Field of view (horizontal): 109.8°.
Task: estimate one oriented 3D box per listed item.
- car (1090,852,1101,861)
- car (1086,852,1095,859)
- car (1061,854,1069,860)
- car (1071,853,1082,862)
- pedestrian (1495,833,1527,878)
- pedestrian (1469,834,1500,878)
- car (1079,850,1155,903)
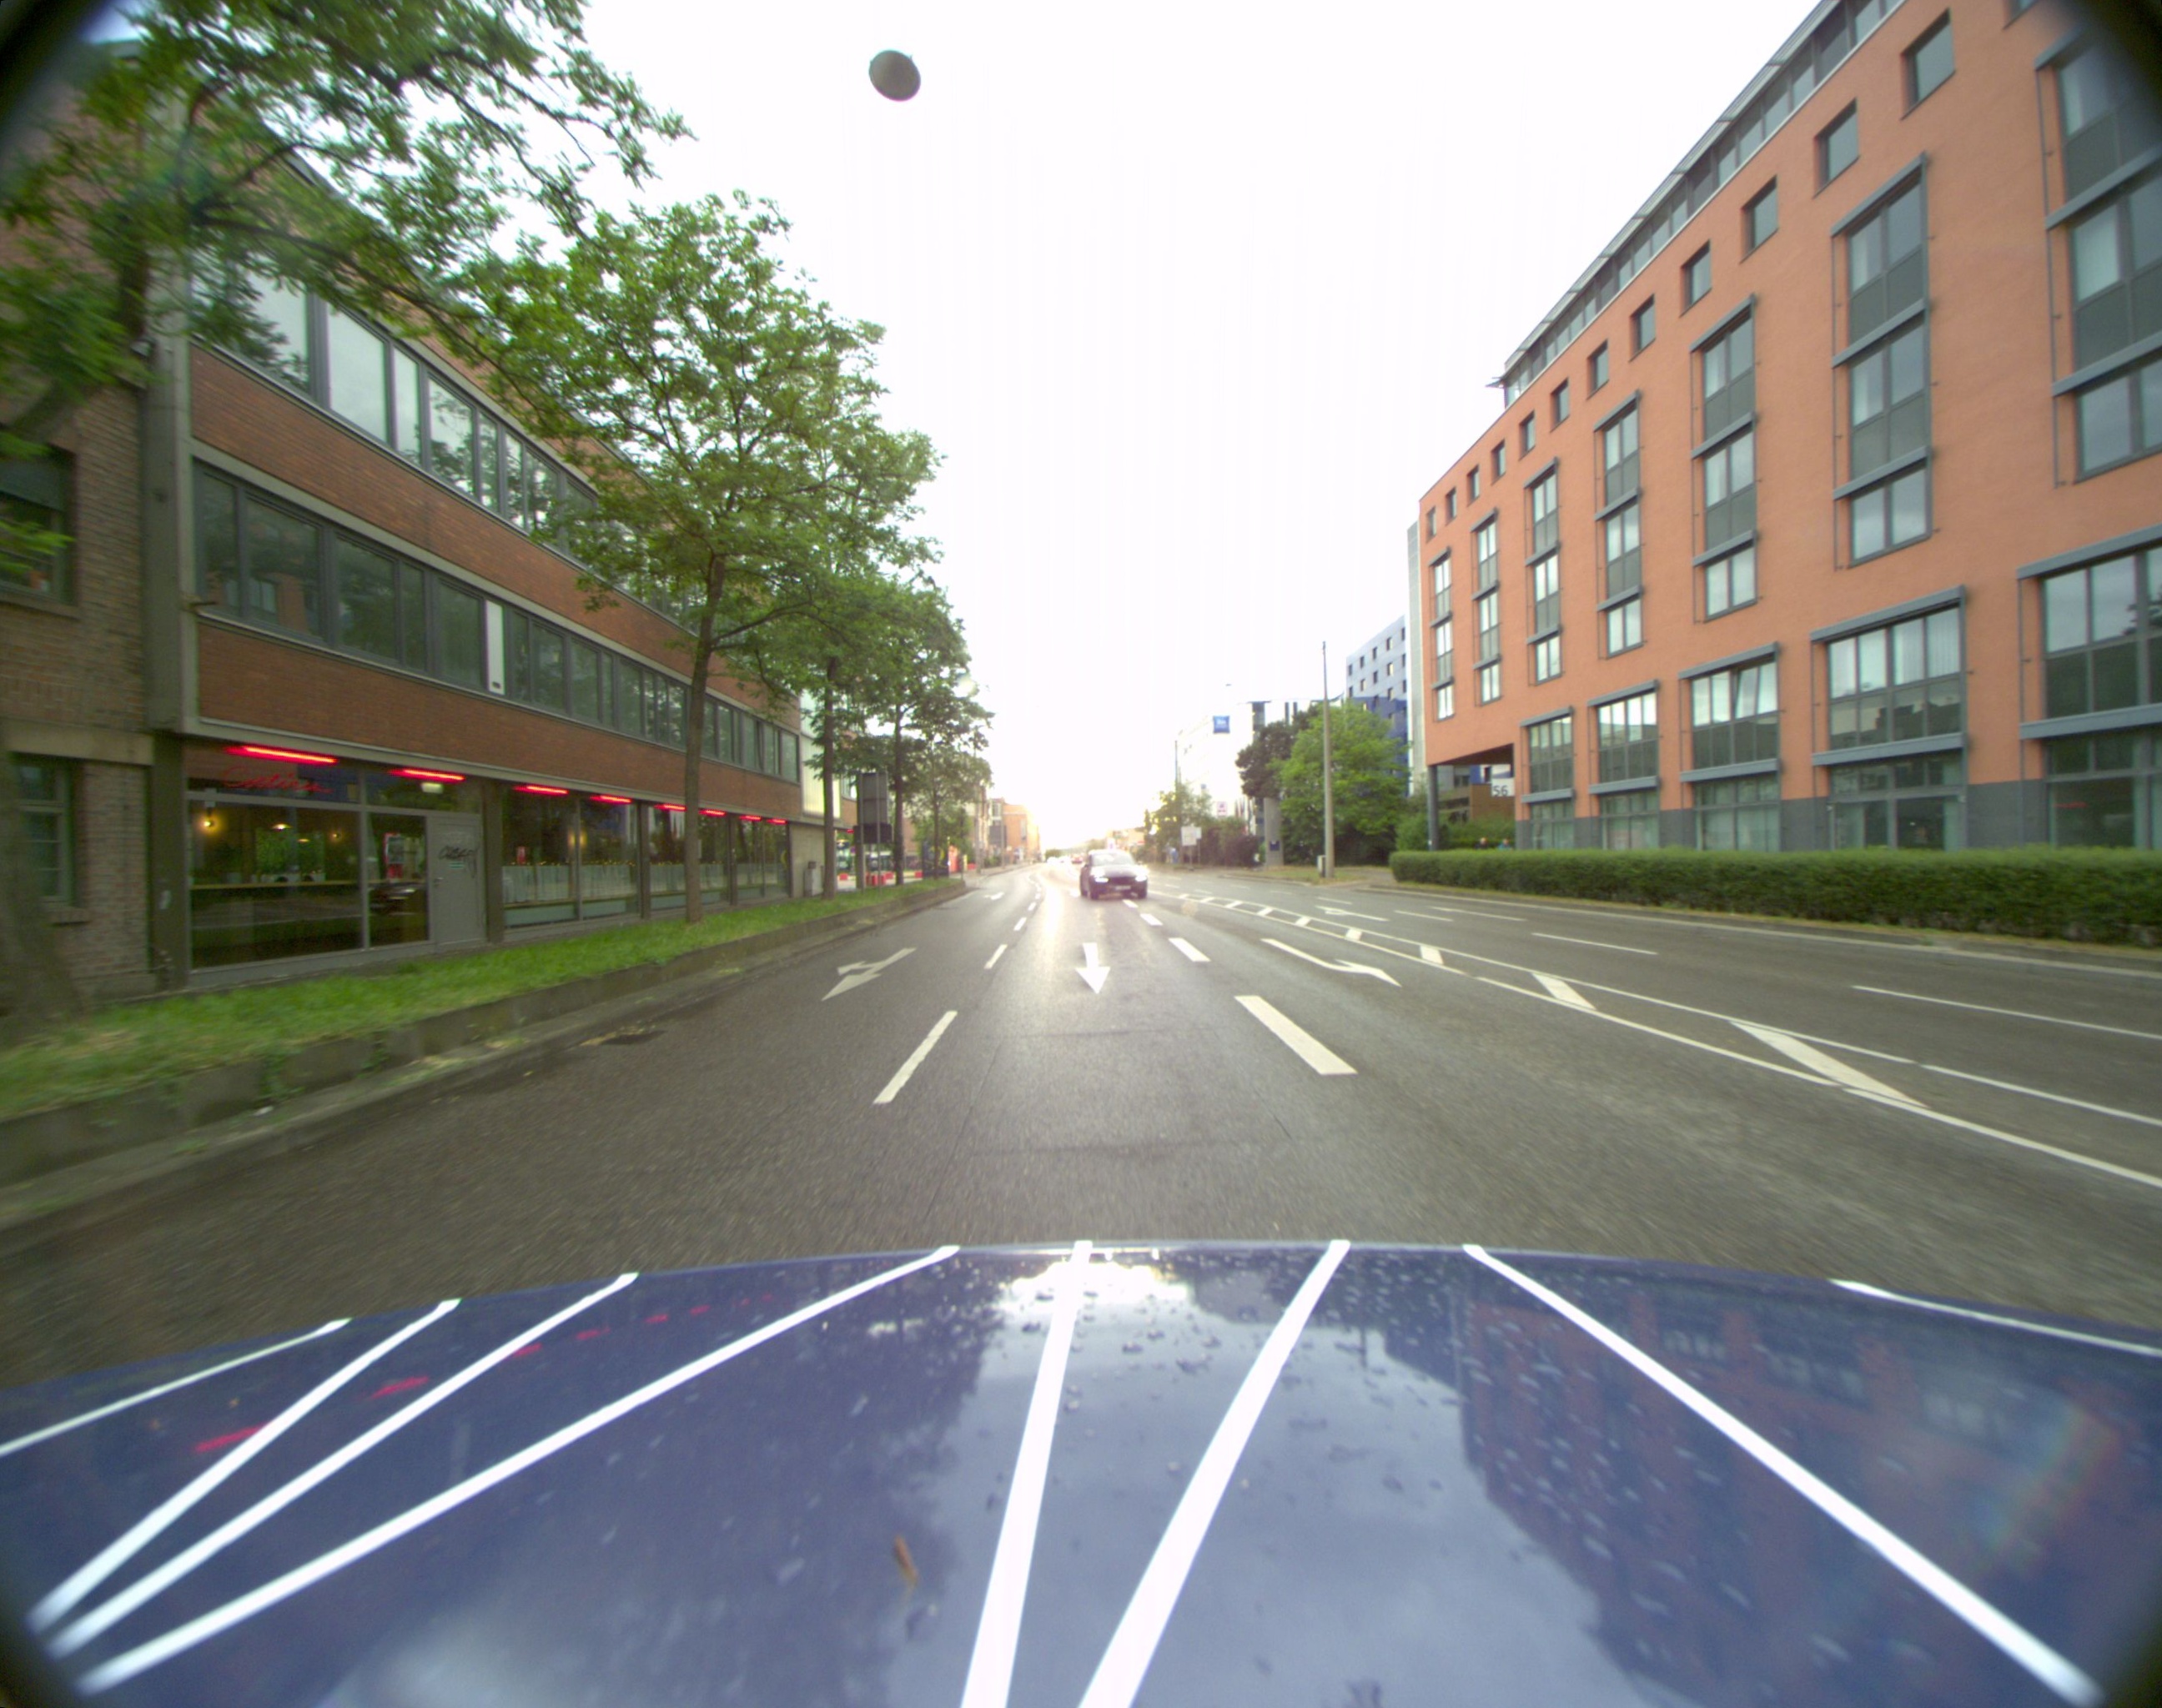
[{"bbox_3d":[2.656,0.398,142.121,1.999,1.543,3.999,-1,0,0],"label":"car"},{"bbox_3d":[2.247,0.294,185.719,1.999,1.543,3.999,-1,0,0],"label":"car"},{"bbox_3d":[-3.838,0.676,182.947,1.799,1.501,4.000,0,-1,0],"label":"car"},{"bbox_3d":[-0.804,0.539,134.521,1.999,1.543,3.999,-1,0,0],"label":"car"},{"bbox_3d":[18.090,0.056,31.968,0.747,1.830,0.885,-3,1,-1],"label":"pedestrian"},{"bbox_3d":[17.101,0.086,32.218,0.747,1.830,0.885,-3,1,-1],"label":"pedestrian"},{"bbox_3d":[1.162,0.738,27.191,1.999,1.656,5.422,-1,0,-5],"label":"car"}]
